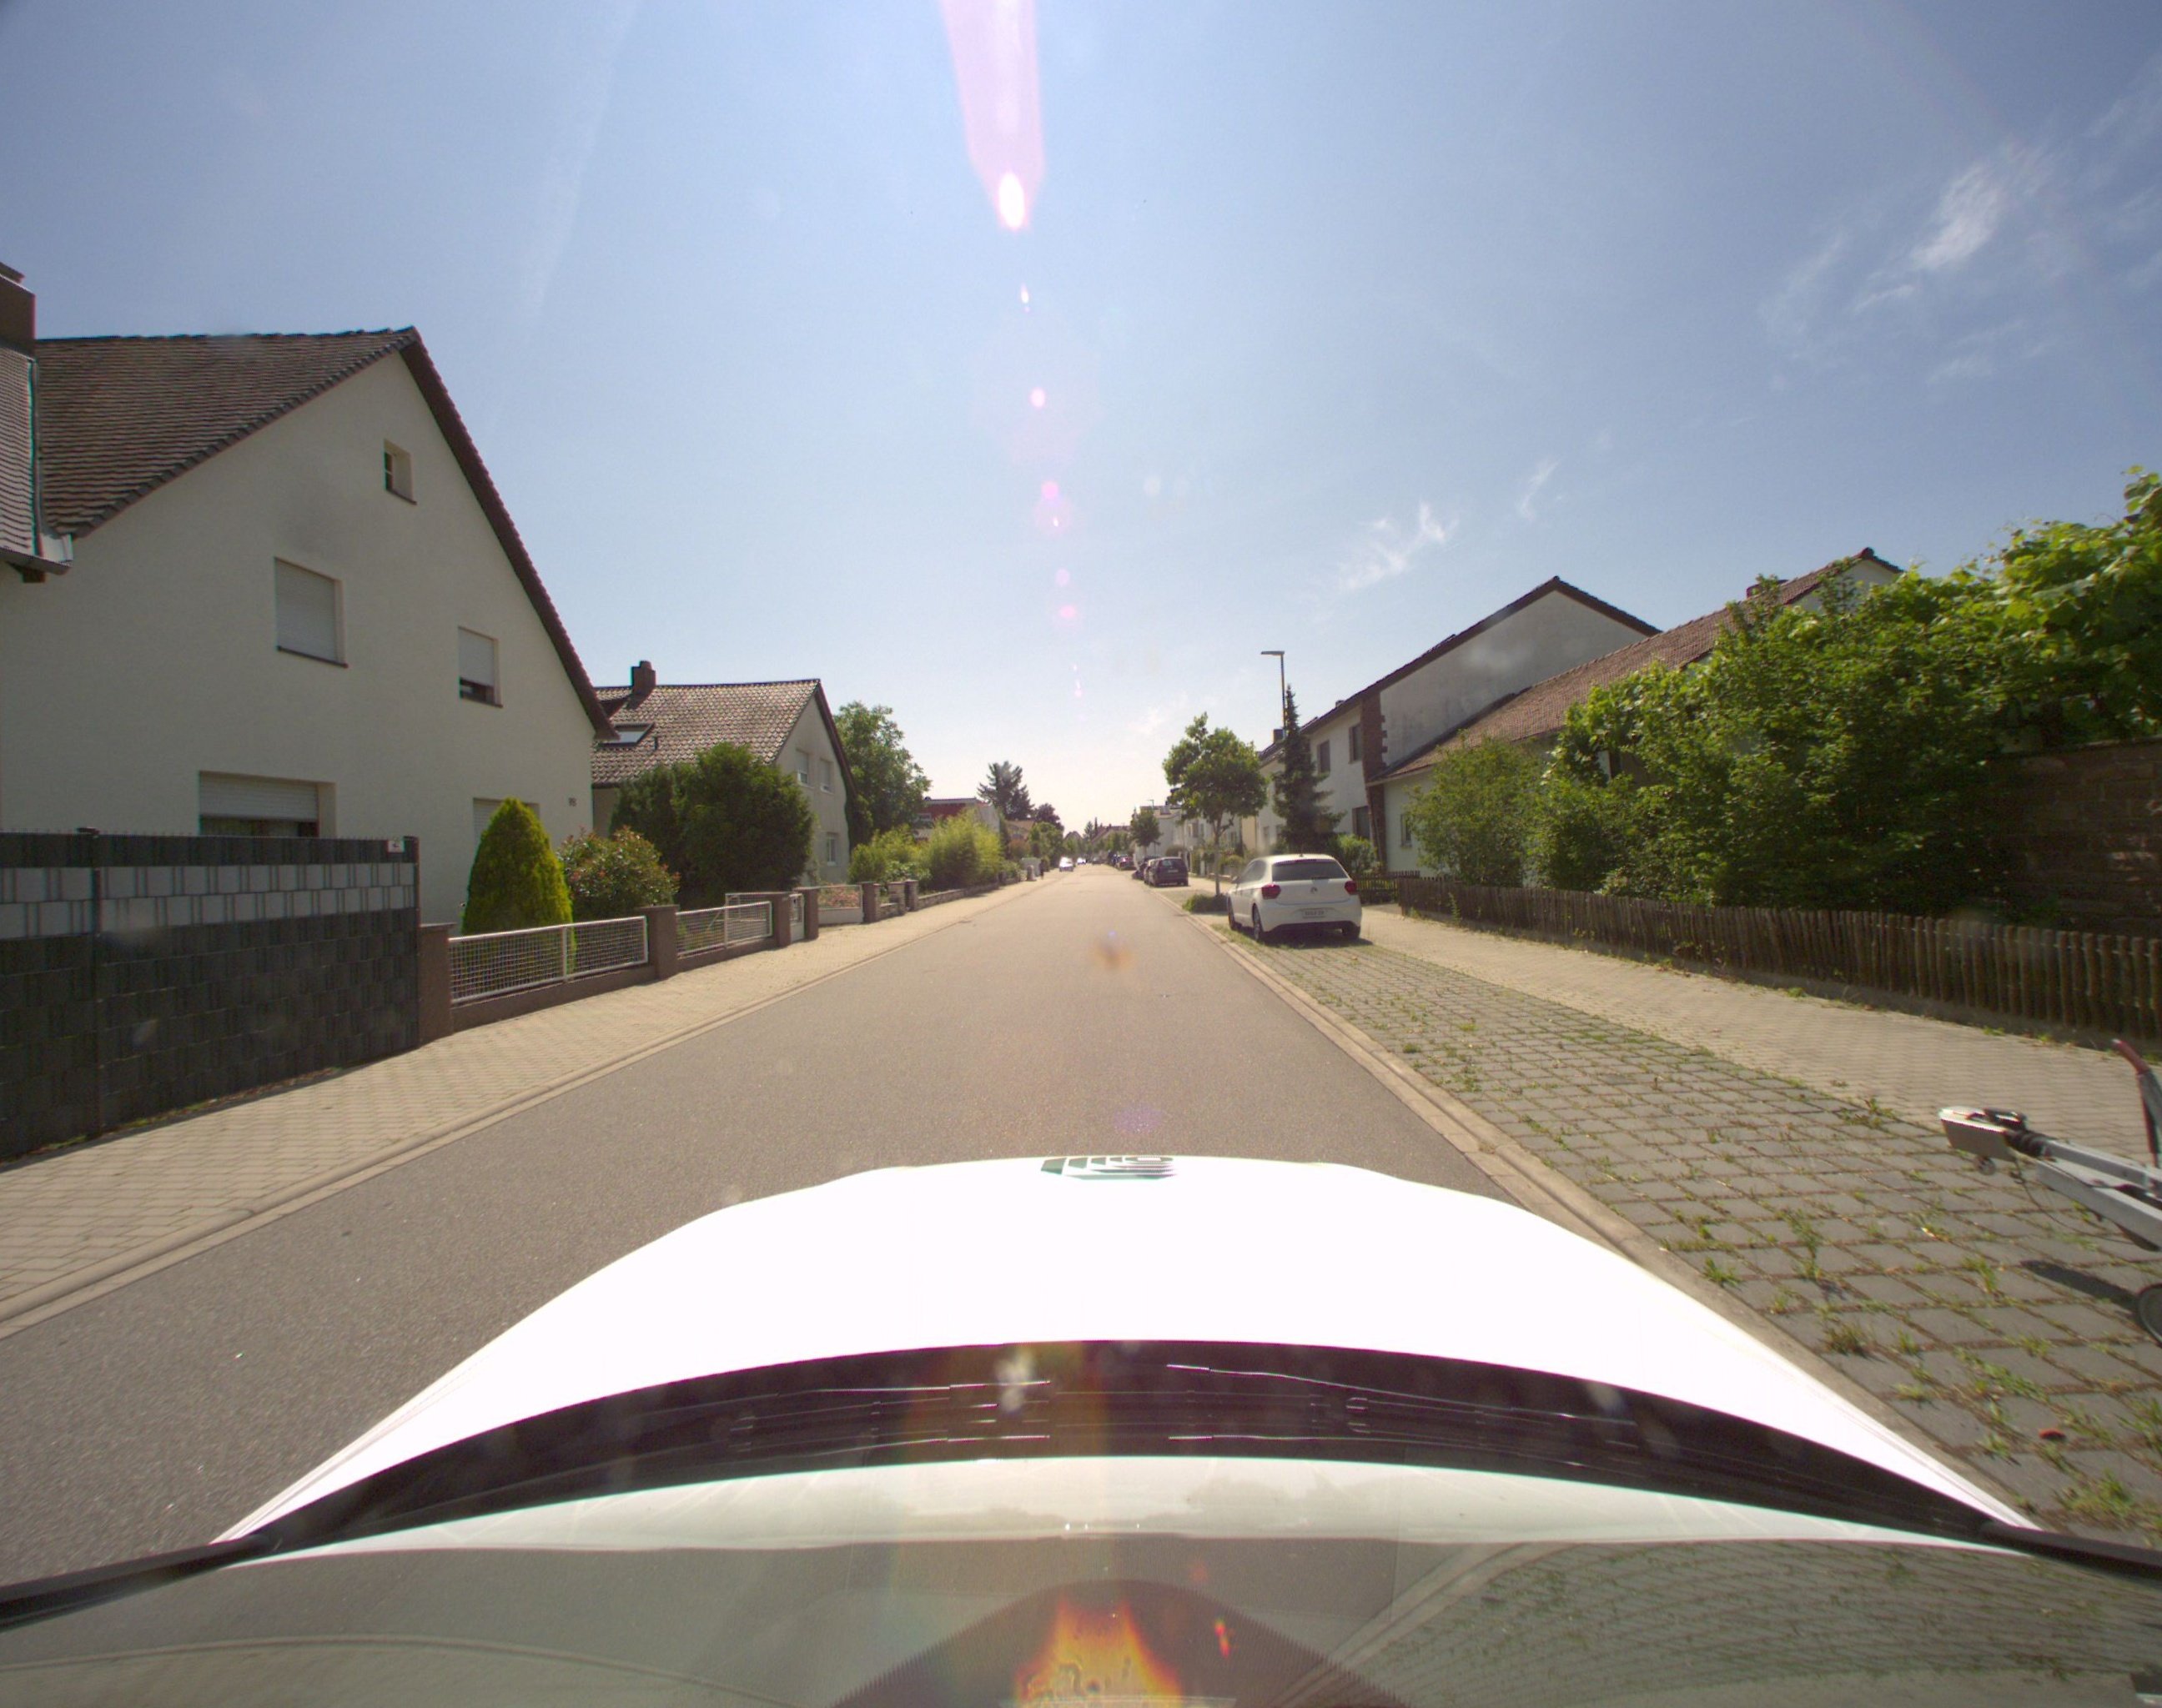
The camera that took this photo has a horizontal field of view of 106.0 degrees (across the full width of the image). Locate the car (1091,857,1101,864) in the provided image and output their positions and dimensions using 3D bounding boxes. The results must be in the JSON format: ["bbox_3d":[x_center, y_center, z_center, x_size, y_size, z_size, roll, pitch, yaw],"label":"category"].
[{"bbox_3d":[3.174,1.285,168.768,1.985,1.430,4.003,-2,0,3],"label":"car"}]

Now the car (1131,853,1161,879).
[{"bbox_3d":[4.543,0.784,57.440,1.807,1.656,4.566,-2,0,2],"label":"car"}]

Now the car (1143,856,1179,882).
[{"bbox_3d":[4.677,0.864,48.165,1.807,1.420,4.094,-2,0,2],"label":"car"}]

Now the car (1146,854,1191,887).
[{"bbox_3d":[4.490,0.829,42.306,1.736,1.533,4.447,-2,0,-1],"label":"car"}]

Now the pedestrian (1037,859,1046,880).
[{"bbox_3d":[-3.409,1.318,70.479,0.712,1.747,0.961,-2,-1,1],"label":"pedestrian"}]

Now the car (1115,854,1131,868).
[{"bbox_3d":[6.066,0.938,117.532,2.091,1.882,4.844,-2,0,2],"label":"car"}]

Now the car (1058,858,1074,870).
[{"bbox_3d":[-1.976,1.306,109.437,1.845,1.488,4.386,-2,0,1],"label":"car"}]

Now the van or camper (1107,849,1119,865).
[{"bbox_3d":[6.122,0.583,156.660,1.987,2.941,4.000,-2,0,1],"label":"van or camper"}]

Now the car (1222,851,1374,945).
[{"bbox_3d":[3.764,0.705,14.842,1.807,1.420,3.869,-2,0,2],"label":"car"}]

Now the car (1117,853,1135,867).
[{"bbox_3d":[5.559,0.768,100.890,1.768,1.595,4.276,-2,0,-1],"label":"car"}]

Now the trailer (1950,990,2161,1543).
[{"bbox_3d":[3.043,0.857,0.587,1.780,1.058,2.900,-2,0,3],"label":"trailer"}]

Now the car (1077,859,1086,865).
[{"bbox_3d":[0.197,1.881,191.725,1.845,1.478,4.703,-2,0,3],"label":"car"}]
